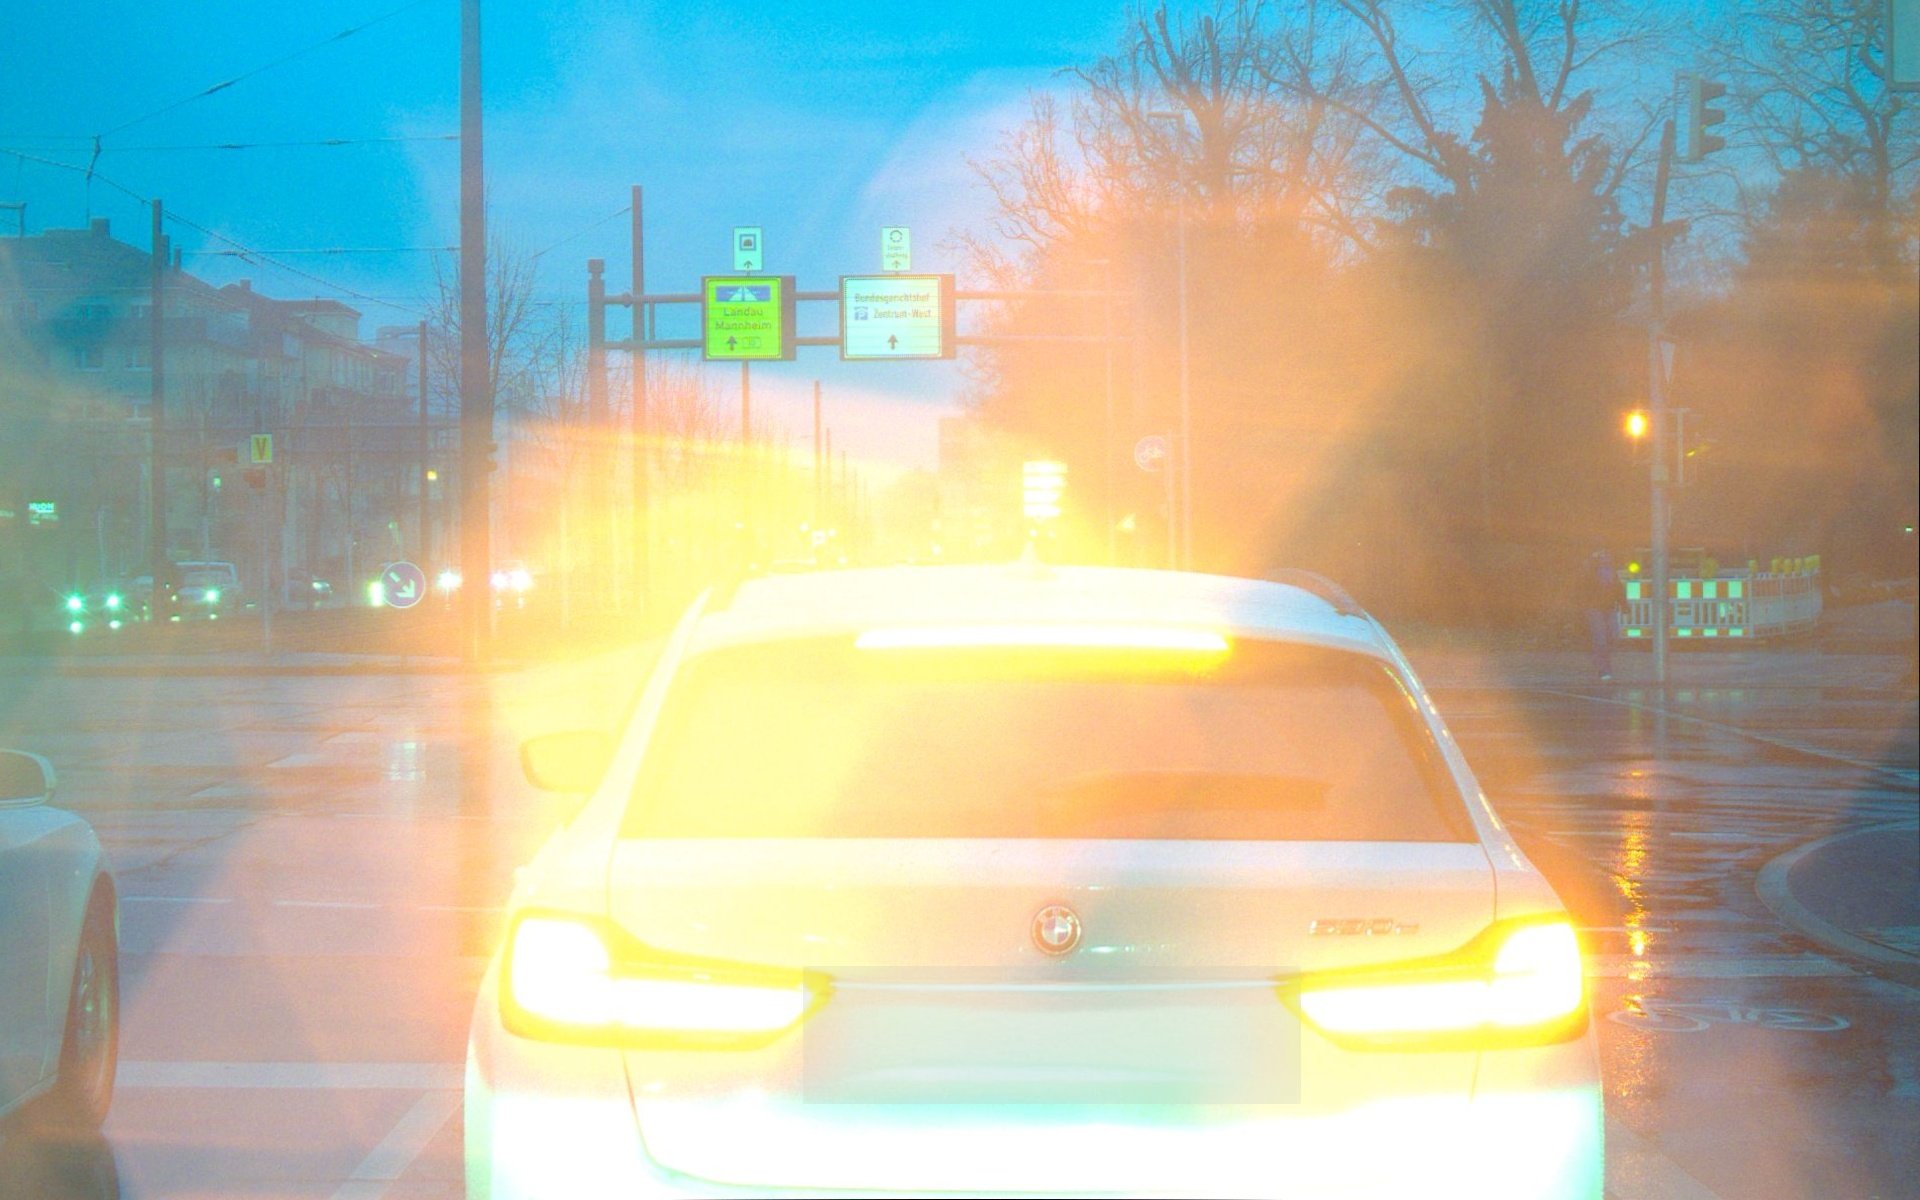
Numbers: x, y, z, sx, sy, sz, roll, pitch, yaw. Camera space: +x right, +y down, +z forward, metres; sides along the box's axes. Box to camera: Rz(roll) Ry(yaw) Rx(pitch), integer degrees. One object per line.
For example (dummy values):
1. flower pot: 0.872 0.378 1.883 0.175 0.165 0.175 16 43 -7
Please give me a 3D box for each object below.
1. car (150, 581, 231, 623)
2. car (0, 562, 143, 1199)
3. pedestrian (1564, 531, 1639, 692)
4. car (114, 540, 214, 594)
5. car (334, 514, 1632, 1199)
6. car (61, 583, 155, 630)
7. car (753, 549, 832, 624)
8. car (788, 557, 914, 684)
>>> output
1. car: -28.095 0.066 125.687 1.993 1.457 5.095 1 1 -2
2. car: -2.963 0.645 6.984 1.759 1.464 4.252 1 1 -3
3. pedestrian: 7.569 0.135 40.573 0.712 1.873 0.675 1 0 -1
4. car: -22.634 -0.945 97.910 1.993 1.457 5.096 1 1 -4
5. car: -0.066 0.647 6.813 1.759 1.547 4.252 1 1 -3
6. car: -27.887 0.195 112.620 1.993 1.457 5.095 1 1 -2
7. car: -4.574 -0.378 94.574 1.993 2.007 4.000 1 1 -1
8. car: -1.772 0.309 57.227 1.993 2.007 4.000 1 1 -1
